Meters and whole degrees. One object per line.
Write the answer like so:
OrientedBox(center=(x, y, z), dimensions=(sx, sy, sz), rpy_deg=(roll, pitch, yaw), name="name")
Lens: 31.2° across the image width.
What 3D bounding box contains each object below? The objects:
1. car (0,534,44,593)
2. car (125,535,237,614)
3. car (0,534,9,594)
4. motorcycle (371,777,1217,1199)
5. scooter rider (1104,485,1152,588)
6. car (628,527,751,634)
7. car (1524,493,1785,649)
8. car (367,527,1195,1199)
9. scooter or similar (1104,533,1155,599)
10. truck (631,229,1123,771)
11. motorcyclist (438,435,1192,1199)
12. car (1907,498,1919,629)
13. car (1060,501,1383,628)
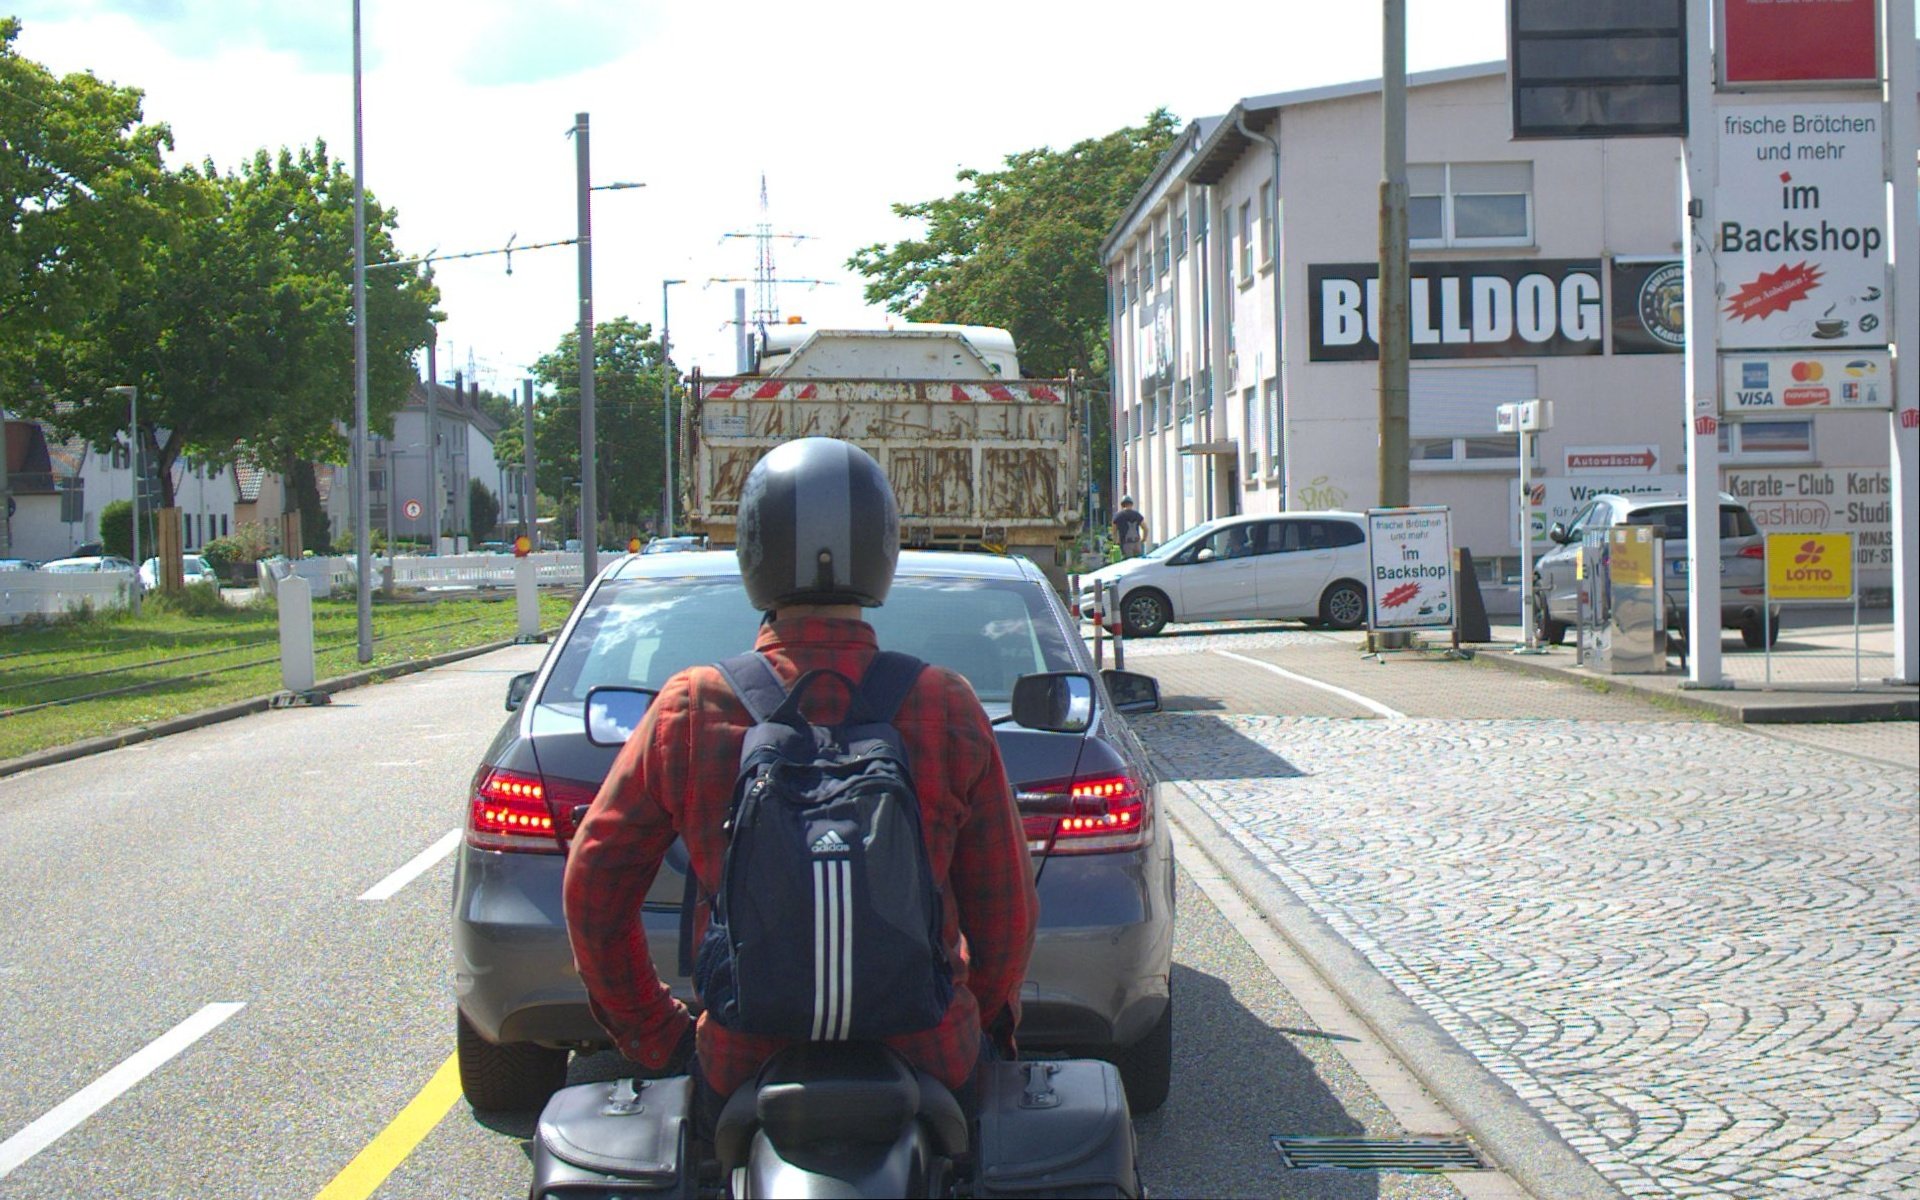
OrientedBox(center=(-29.273, -1.110, 104.579), dimensions=(1.698, 1.733, 4.062), rpy_deg=(-1, 1, 0), name="car")
OrientedBox(center=(-17.945, -0.609, 79.352), dimensions=(1.698, 1.733, 3.860), rpy_deg=(-1, 1, 0), name="car")
OrientedBox(center=(-28.677, -0.998, 98.569), dimensions=(1.698, 1.733, 4.062), rpy_deg=(-1, 1, 0), name="car")
OrientedBox(center=(-0.210, 0.866, 5.203), dimensions=(0.976, 1.010, 2.432), rpy_deg=(1, 1, -1), name="motorcycle")
OrientedBox(center=(2.997, -1.133, 61.416), dimensions=(0.795, 1.812, 0.508), rpy_deg=(-1, 1, -1), name="scooter rider")
OrientedBox(center=(-4.302, -0.347, 55.124), dimensions=(1.680, 1.619, 4.119), rpy_deg=(-1, 1, -1), name="car")
OrientedBox(center=(7.326, -0.340, 36.641), dimensions=(1.832, 1.530, 4.010), rpy_deg=(-1, 1, -2), name="car")
OrientedBox(center=(-0.458, 0.555, 9.764), dimensions=(1.832, 1.474, 4.010), rpy_deg=(-1, 1, -2), name="car")
OrientedBox(center=(3.011, -0.611, 61.349), dimensions=(0.795, 1.141, 1.519), rpy_deg=(-1, 1, -1), name="scooter or similar")
OrientedBox(center=(-0.631, -0.713, 25.464), dimensions=(2.970, 3.293, 8.408), rpy_deg=(-1, 1, -2), name="truck")
OrientedBox(center=(-0.200, 0.591, 5.080), dimensions=(0.969, 1.627, 1.215), rpy_deg=(1, 1, -1), name="motorcyclist")
OrientedBox(center=(11.790, -0.400, 37.240), dimensions=(1.832, 1.474, 4.010), rpy_deg=(-1, 1, -2), name="car")
OrientedBox(center=(3.550, -0.499, 47.027), dimensions=(4.104, 1.619, 1.686), rpy_deg=(-1, 1, -8), name="car")
